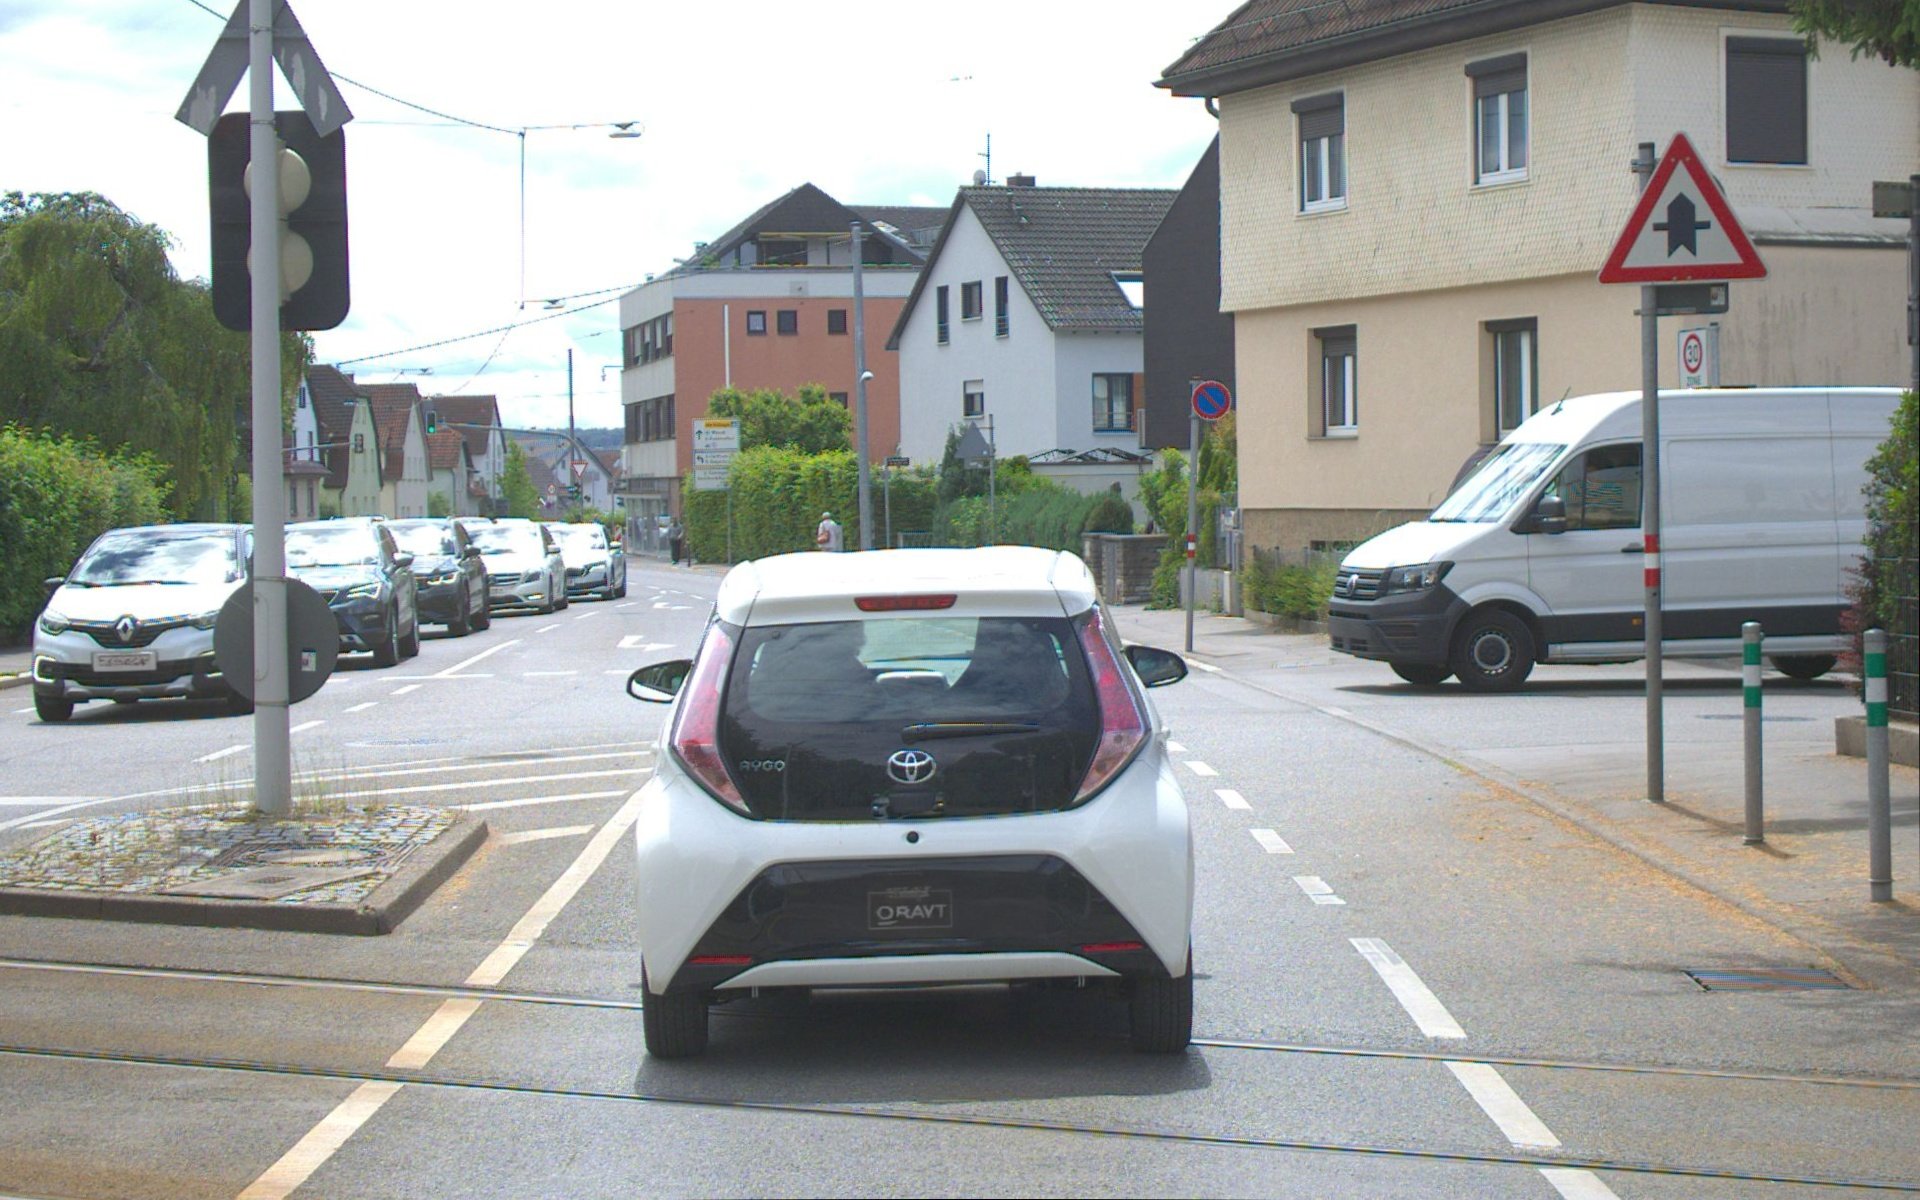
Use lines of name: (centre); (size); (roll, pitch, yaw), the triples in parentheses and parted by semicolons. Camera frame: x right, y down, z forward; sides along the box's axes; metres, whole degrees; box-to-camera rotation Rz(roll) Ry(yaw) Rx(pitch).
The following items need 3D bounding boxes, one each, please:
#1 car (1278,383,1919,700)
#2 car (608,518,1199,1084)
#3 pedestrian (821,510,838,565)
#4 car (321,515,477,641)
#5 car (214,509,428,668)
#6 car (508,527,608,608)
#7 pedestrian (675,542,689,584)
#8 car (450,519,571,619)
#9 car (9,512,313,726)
car: (5.915, -0.549, 29.576); (5.994, 2.572, 2.001); (-1, 2, -13)
car: (-0.156, 0.507, 11.455); (1.621, 1.481, 4.001); (0, 2, 0)
pedestrian: (-3.440, -1.645, 90.594); (0.413, 1.433, 0.438); (0, 1, 4)
car: (-7.714, -0.309, 47.586); (1.774, 1.598, 4.170); (-2, 1, -5)
car: (-6.940, -0.133, 37.699); (1.775, 1.598, 4.039); (-2, 1, -3)
car: (-7.694, -0.610, 65.753); (1.774, 1.425, 4.523); (-2, 1, -7)
pedestrian: (-9.516, -1.254, 117.675); (0.413, 1.433, 0.438); (0, 1, -10)
car: (-7.494, -0.519, 57.596); (1.775, 1.556, 4.170); (-2, 1, -5)
car: (-6.595, 0.095, 28.763); (1.775, 1.597, 4.039); (-2, 2, -3)
